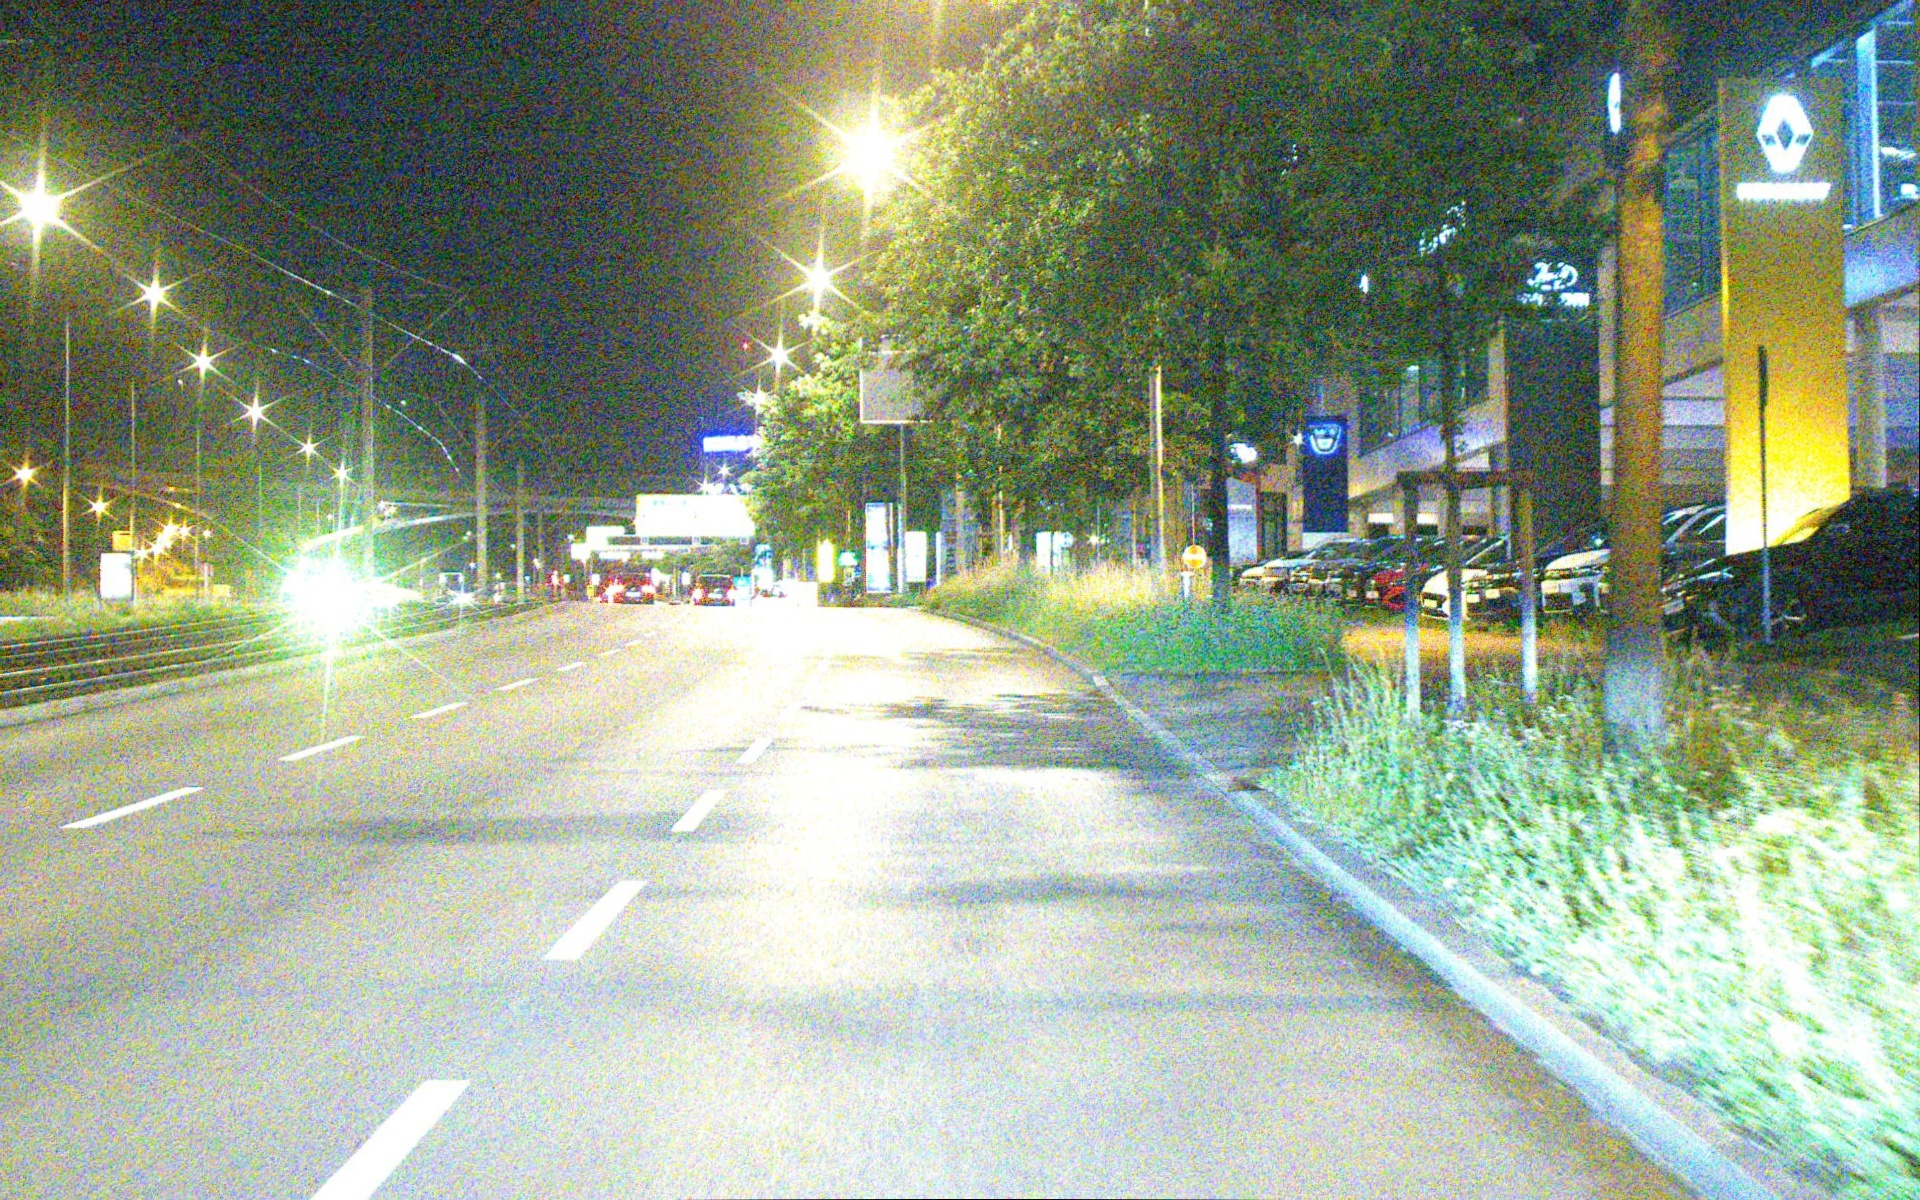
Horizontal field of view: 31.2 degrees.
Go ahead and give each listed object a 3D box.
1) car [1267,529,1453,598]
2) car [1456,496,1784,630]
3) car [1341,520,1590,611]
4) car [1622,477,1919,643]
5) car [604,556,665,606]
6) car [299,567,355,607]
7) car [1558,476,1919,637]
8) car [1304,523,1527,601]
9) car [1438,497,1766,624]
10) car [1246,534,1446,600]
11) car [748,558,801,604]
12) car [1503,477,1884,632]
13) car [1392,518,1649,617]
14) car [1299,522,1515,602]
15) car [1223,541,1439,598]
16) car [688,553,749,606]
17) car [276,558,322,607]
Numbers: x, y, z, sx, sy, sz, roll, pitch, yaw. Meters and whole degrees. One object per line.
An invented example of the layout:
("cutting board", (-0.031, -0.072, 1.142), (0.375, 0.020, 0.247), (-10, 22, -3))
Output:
("car", (8.568, -0.767, 73.634), (3.601, 1.428, 1.680), (0, 0, -25))
("car", (9.353, -0.543, 48.802), (4.079, 1.563, 1.855), (-5, 2, -12))
("car", (9.211, -0.625, 62.705), (4.022, 1.369, 1.826), (-4, 1, -18))
("car", (9.744, -0.487, 38.195), (4.201, 1.657, 1.962), (-3, 1, -12))
("car", (-13.478, -0.788, 142.602), (2.262, 2.007, 4.826), (0, 0, -2))
("car", (-27.367, -0.552, 148.747), (1.779, 1.708, 4.227), (0, 0, -2))
("car", (10.048, -0.571, 43.309), (4.459, 1.804, 2.001), (-3, 1, -12))
("car", (9.047, -0.775, 68.271), (3.986, 1.387, 1.827), (-2, 2, -24))
("car", (9.738, -0.587, 52.238), (4.459, 1.542, 1.770), (-5, 0, -11))
("car", (8.565, -0.756, 76.364), (3.986, 1.419, 1.910), (0, 1, -19))
("car", (-8.694, -0.896, 161.601), (2.427, 2.106, 4.826), (0, 0, -2))
("car", (9.789, -0.617, 46.035), (4.459, 1.681, 2.001), (-5, 2, -12))
("car", (9.363, -0.551, 57.514), (3.801, 1.448, 1.718), (-3, 1, -15))
("car", (9.195, -0.792, 70.757), (3.986, 1.465, 1.833), (-3, 1, -21))
("car", (8.539, -0.714, 79.087), (4.628, 1.260, 1.948), (-1, 2, -26))
("car", (-9.967, -0.849, 142.027), (2.356, 2.122, 4.826), (0, 0, -2))
("car", (-38.625, -0.980, 200.798), (2.145, 2.662, 6.964), (-3, 0, -14))
